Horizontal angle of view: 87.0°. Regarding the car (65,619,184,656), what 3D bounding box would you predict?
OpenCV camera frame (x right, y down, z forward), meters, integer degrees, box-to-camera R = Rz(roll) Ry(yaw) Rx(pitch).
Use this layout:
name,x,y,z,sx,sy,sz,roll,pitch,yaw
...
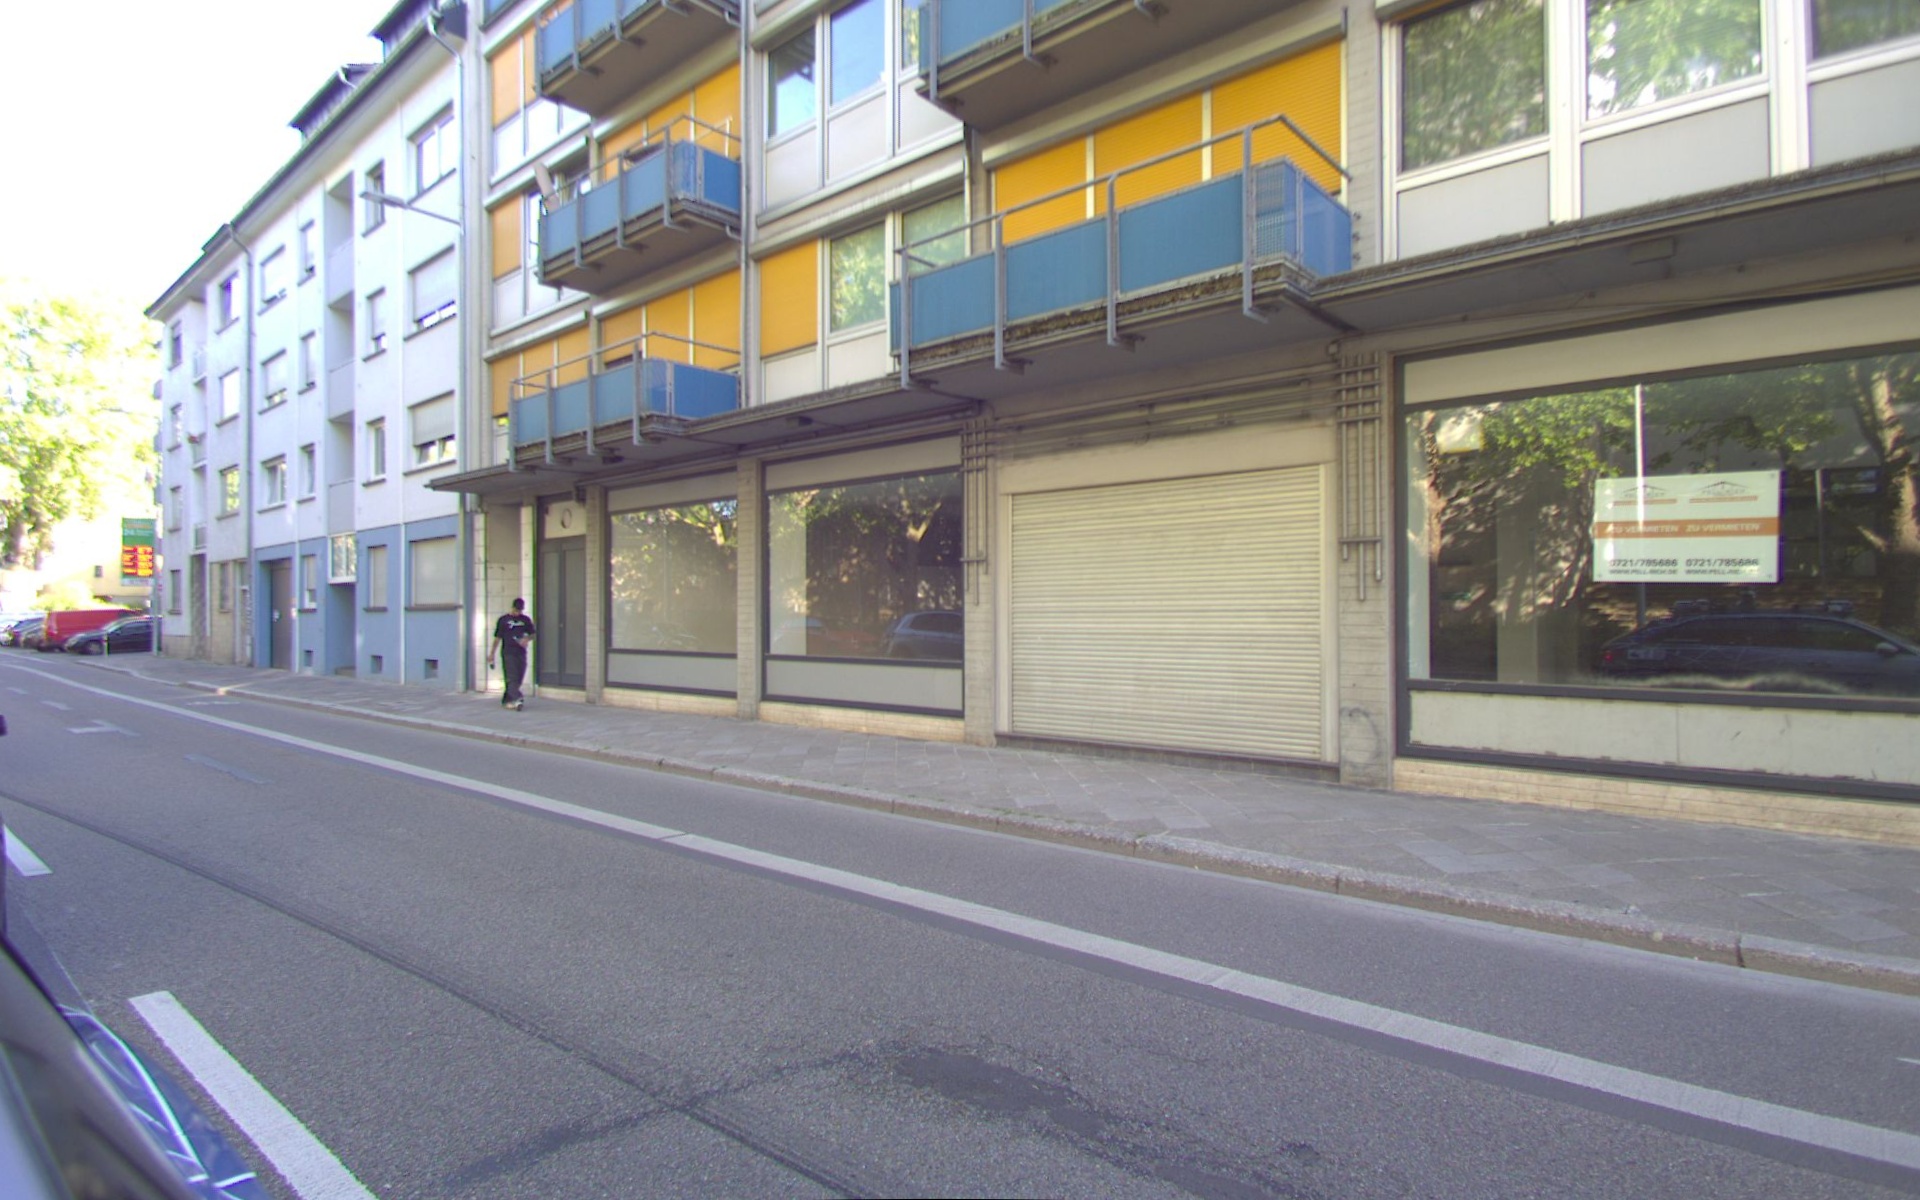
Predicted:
name,x,y,z,sx,sy,sz,roll,pitch,yaw
car,-37.875,1.672,45.944,1.742,1.572,3.946,-1,-1,41

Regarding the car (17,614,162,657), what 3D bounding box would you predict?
name,x,y,z,sx,sy,sz,roll,pitch,yaw
car,-42.689,1.695,49.715,2.256,1.995,5.156,-1,-1,41

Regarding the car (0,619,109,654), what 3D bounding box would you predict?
name,x,y,z,sx,sy,sz,roll,pitch,yaw
car,-54.121,2.124,60.356,2.082,1.952,4.928,-1,-1,41

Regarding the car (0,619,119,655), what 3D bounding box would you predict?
name,x,y,z,sx,sy,sz,roll,pitch,yaw
car,-52.235,2.103,58.719,2.159,1.952,4.990,-1,-1,41

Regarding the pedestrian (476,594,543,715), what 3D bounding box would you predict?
name,x,y,z,sx,sy,sz,roll,pitch,yaw
pedestrian,-6.876,0.810,15.447,0.793,1.785,0.655,-1,-1,41

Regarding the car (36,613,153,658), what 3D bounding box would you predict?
name,x,y,z,sx,sy,sz,roll,pitch,yaw
car,-40.588,1.628,47.517,1.866,1.952,3.946,-1,-1,41

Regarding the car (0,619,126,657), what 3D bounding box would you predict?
name,x,y,z,sx,sy,sz,roll,pitch,yaw
car,-50.296,2.080,56.831,2.186,1.952,5.077,-1,-1,41

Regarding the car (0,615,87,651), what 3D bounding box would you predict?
name,x,y,z,sx,sy,sz,roll,pitch,yaw
car,-59.343,2.091,64.713,2.186,2.164,5.077,-1,-1,41

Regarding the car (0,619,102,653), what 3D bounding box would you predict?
name,x,y,z,sx,sy,sz,roll,pitch,yaw
car,-55.968,2.151,61.987,2.314,1.952,4.978,-1,-1,41

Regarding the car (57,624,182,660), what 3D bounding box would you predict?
name,x,y,z,sx,sy,sz,roll,pitch,yaw
car,-36.550,1.782,44.078,1.742,1.431,3.946,-1,-1,41
